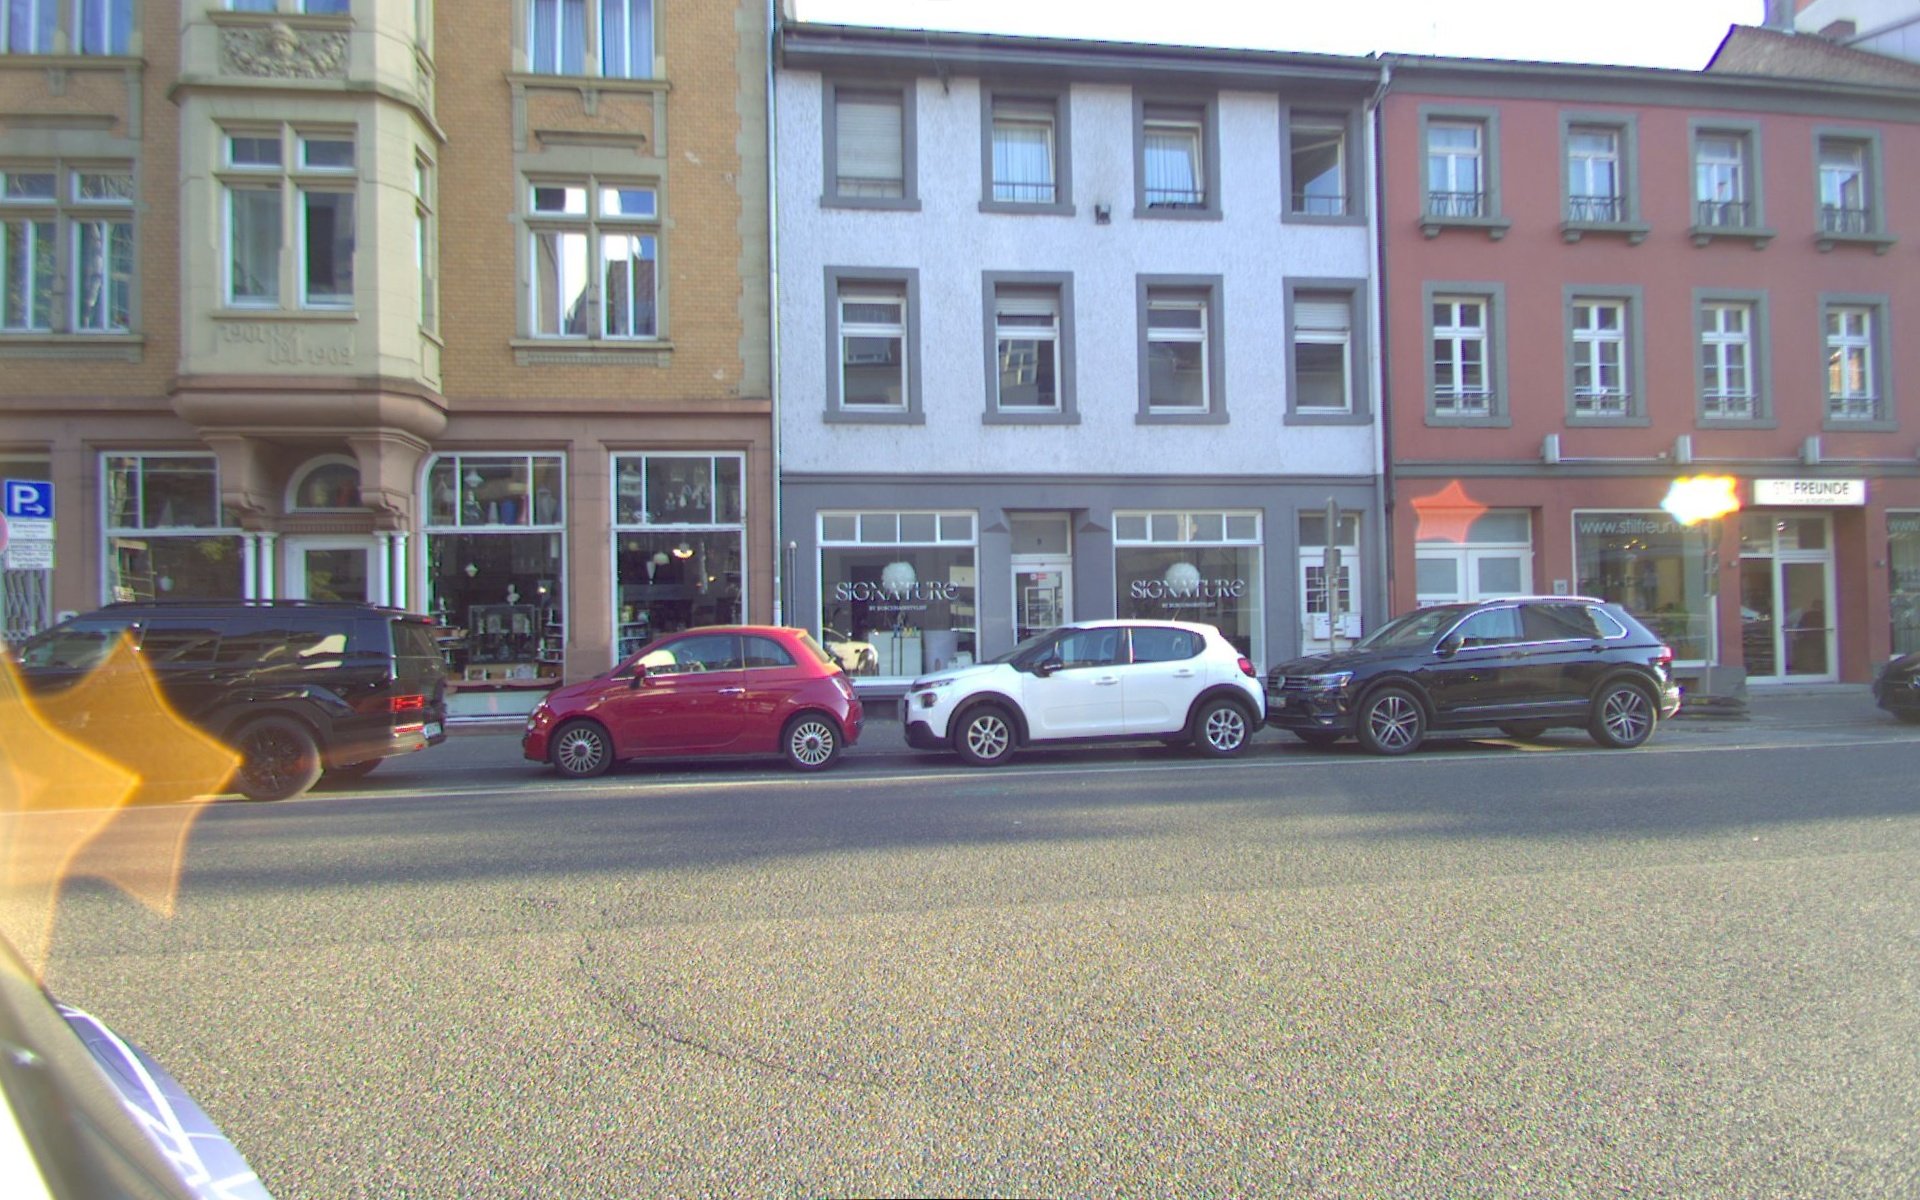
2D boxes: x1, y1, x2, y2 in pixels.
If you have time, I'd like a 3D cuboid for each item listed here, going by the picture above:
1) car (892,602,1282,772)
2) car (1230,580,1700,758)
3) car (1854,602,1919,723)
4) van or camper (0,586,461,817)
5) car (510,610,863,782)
[{"bbox_3d":[1.265,0.902,11.057,3.873,1.585,1.669,-1,-3,-7],"label":"car"},{"bbox_3d":[5.542,0.746,11.400,4.389,1.711,1.803,-1,-4,-8],"label":"car"},{"bbox_3d":[14.027,0.713,12.686,4.340,1.499,1.693,-1,-4,-8],"label":"car"},{"bbox_3d":[-7.206,0.869,9.287,4.386,1.821,1.900,-1,-3,-13],"label":"van or camper"},{"bbox_3d":[-2.749,0.961,10.700,3.369,1.582,1.532,-1,-3,-6],"label":"car"}]
